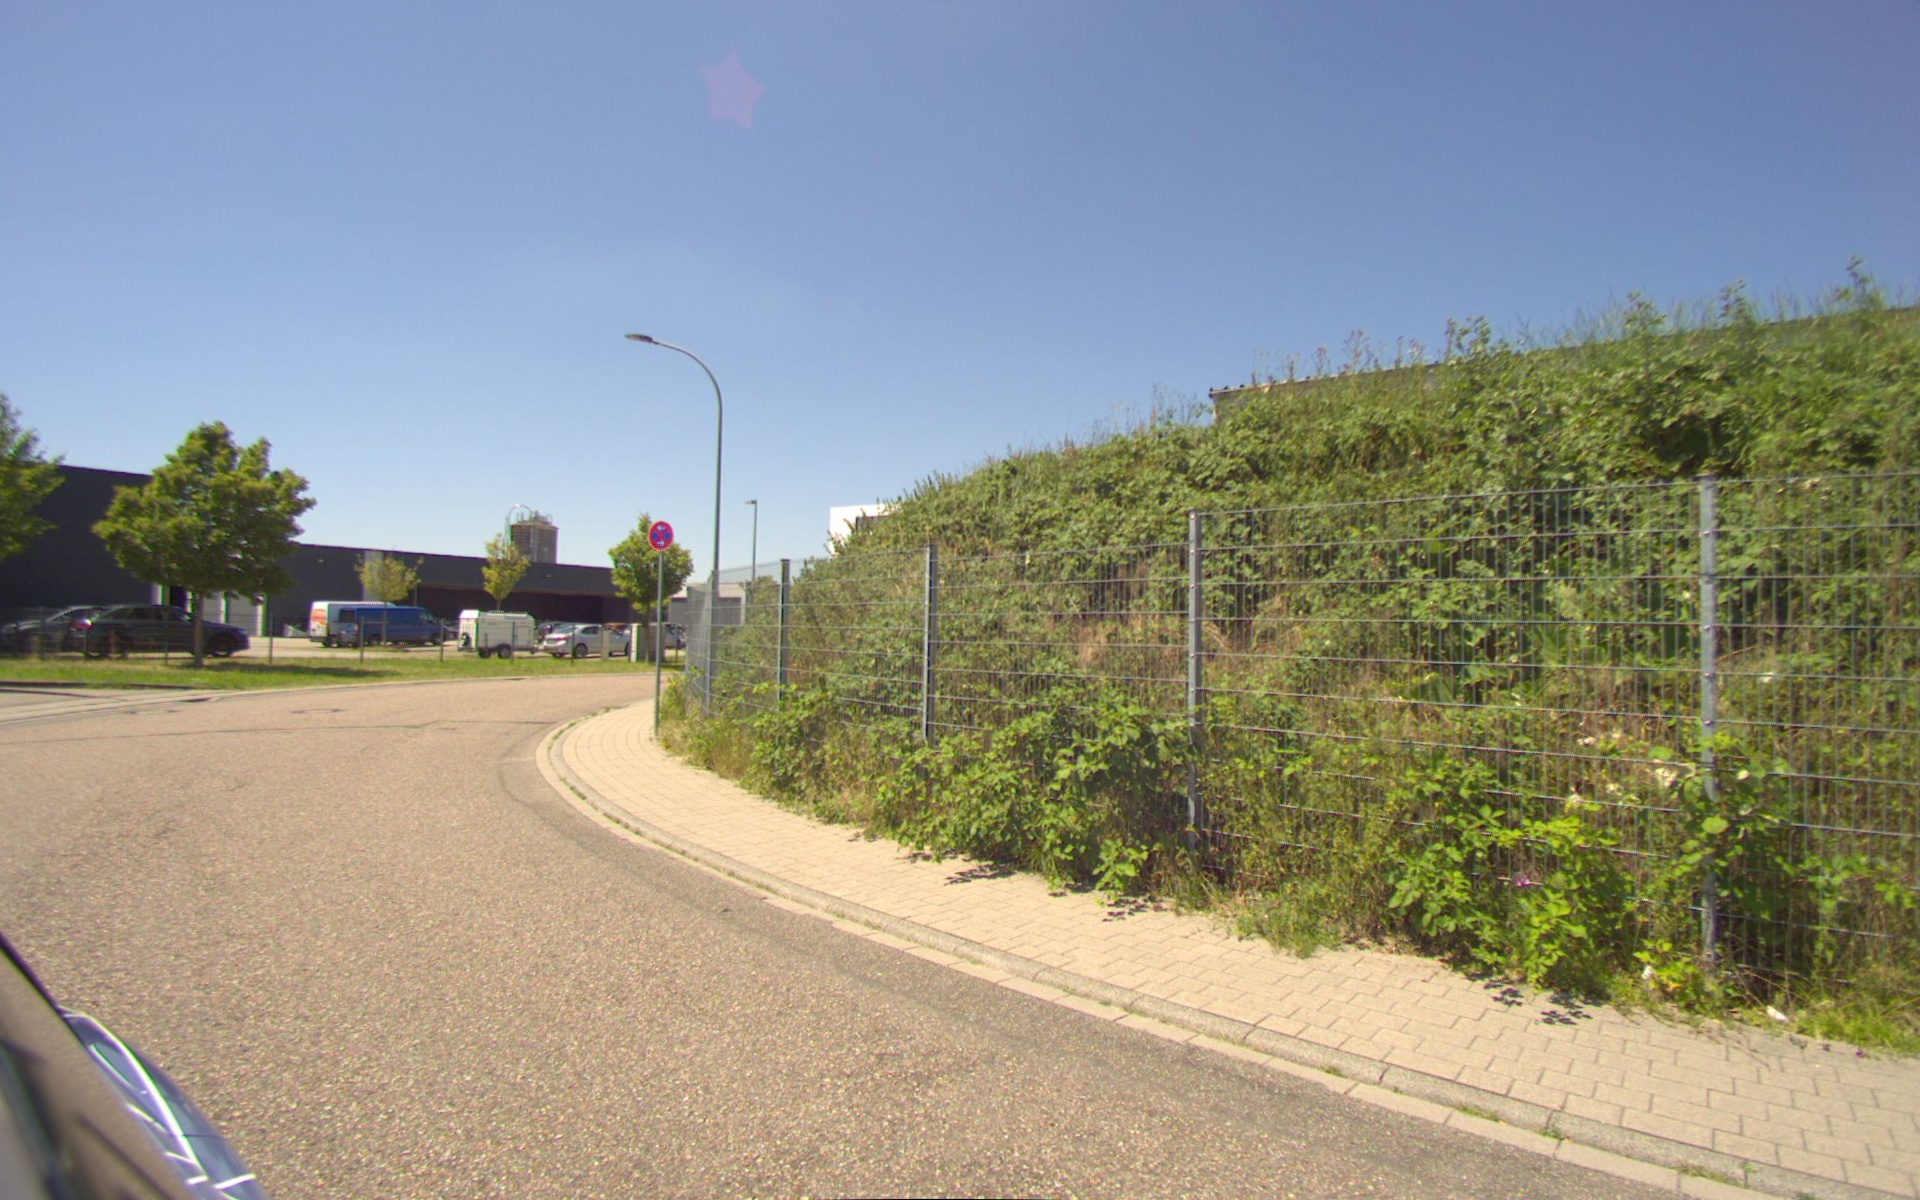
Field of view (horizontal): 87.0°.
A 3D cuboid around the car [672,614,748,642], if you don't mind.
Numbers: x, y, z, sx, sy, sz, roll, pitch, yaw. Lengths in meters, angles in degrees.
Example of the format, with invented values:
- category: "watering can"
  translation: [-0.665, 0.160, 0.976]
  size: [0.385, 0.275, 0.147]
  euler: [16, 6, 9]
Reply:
- category: "car"
  translation: [-14.116, 1.610, 57.217]
  size: [1.851, 1.510, 3.877]
  euler: [-1, -2, 36]

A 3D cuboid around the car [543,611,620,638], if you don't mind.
- category: "car"
  translation: [-24.283, 1.603, 65.004]
  size: [1.964, 1.644, 4.201]
  euler: [-1, -2, 36]

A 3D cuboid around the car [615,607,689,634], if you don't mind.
- category: "car"
  translation: [-18.440, 1.263, 60.762]
  size: [1.851, 1.510, 3.877]
  euler: [0, -2, 36]

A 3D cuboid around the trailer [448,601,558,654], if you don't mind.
- category: "trailer"
  translation: [-18.970, 1.183, 42.129]
  size: [1.851, 2.014, 3.693]
  euler: [-1, -4, 35]

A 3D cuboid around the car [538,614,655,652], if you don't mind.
- category: "car"
  translation: [-16.339, 1.463, 45.705]
  size: [1.851, 1.510, 4.798]
  euler: [-1, 0, 35]

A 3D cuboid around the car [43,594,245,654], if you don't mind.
- category: "car"
  translation: [-23.616, 0.677, 29.437]
  size: [1.775, 1.613, 4.234]
  euler: [0, -1, 33]

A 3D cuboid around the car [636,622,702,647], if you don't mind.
- category: "car"
  translation: [-19.457, 2.308, 67.804]
  size: [1.851, 1.510, 3.877]
  euler: [0, -3, 36]

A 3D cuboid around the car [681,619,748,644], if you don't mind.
- category: "car"
  translation: [-15.518, 2.017, 64.078]
  size: [1.851, 1.510, 3.877]
  euler: [-1, -2, 36]

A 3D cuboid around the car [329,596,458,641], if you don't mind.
- category: "car"
  translation: [-30.834, 0.967, 55.285]
  size: [2.138, 2.241, 5.768]
  euler: [-3, -1, 33]

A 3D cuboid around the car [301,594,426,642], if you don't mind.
- category: "car"
  translation: [-33.238, 0.959, 56.553]
  size: [2.190, 2.476, 5.616]
  euler: [-1, 0, 33]

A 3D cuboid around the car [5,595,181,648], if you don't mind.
- category: "car"
  translation: [-29.120, 0.754, 34.131]
  size: [1.775, 1.579, 4.125]
  euler: [0, -3, 33]
